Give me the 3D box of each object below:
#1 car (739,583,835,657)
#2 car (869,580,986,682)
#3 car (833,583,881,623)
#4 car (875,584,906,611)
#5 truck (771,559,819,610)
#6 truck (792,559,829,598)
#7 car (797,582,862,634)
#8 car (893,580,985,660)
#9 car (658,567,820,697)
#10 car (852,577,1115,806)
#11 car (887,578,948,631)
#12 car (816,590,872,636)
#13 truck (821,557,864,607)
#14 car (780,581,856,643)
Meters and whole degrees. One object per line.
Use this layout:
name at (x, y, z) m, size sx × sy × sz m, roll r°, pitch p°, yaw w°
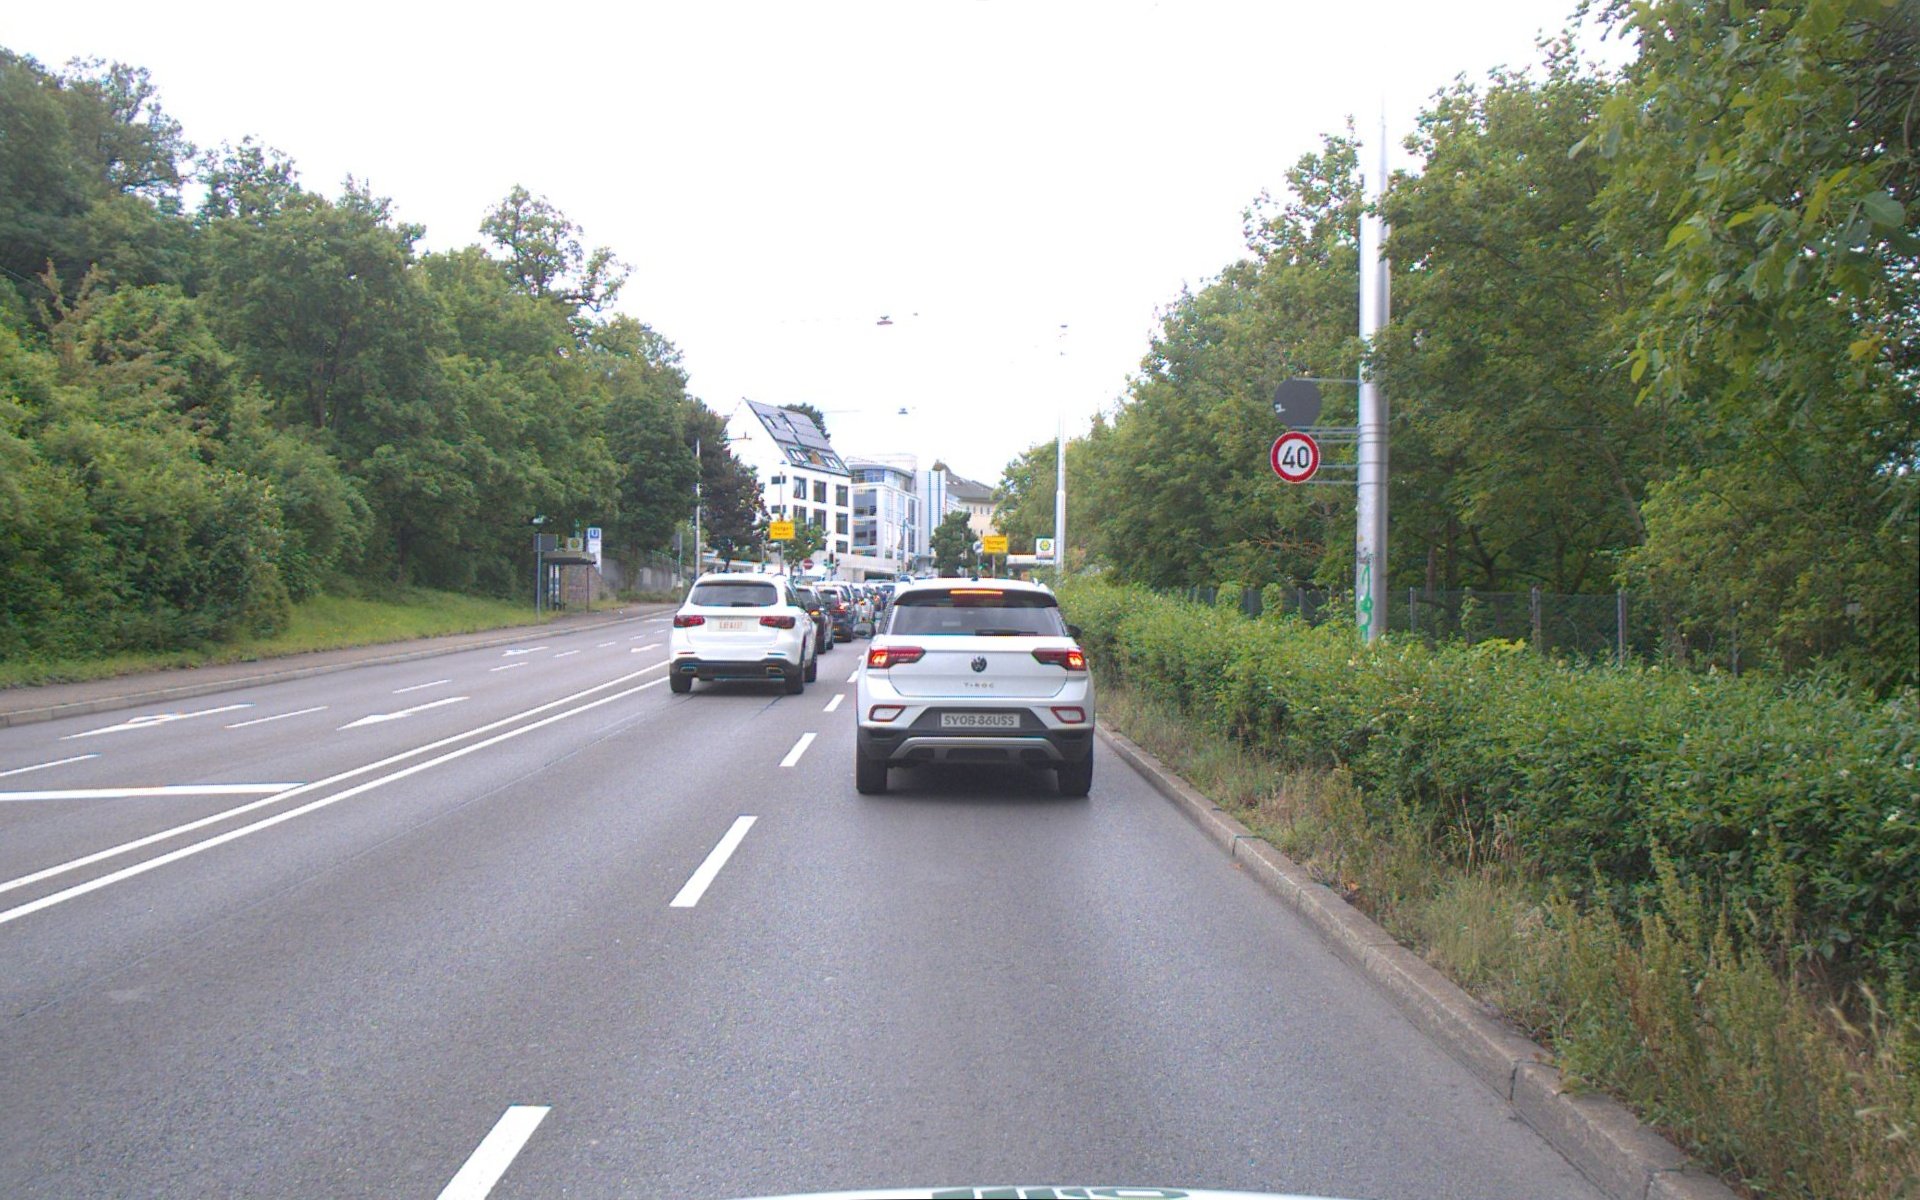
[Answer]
car at (-3.770, 0.406, 36.652) m, size 1.792 × 1.523 × 3.999 m, roll -1°, pitch 0°, yaw -2°
car at (-0.552, 0.462, 27.543) m, size 1.792 × 1.552 × 3.999 m, roll -1°, pitch 0°, yaw -2°
car at (-4.166, 0.107, 67.430) m, size 1.792 × 1.552 × 3.999 m, roll -1°, pitch 0°, yaw -2°
car at (-4.212, -0.177, 100.994) m, size 1.792 × 1.552 × 3.999 m, roll -1°, pitch 0°, yaw -2°
truck at (-9.299, -0.895, 93.456) m, size 2.315 × 2.753 × 4.476 m, roll -2°, pitch 0°, yaw -2°
truck at (-12.411, -1.744, 137.788) m, size 2.246 × 3.104 × 6.980 m, roll -1°, pitch 0°, yaw 1°
car at (-4.027, 0.225, 51.602) m, size 1.792 × 1.552 × 3.999 m, roll -1°, pitch 0°, yaw -2°
car at (-0.470, 0.376, 34.521) m, size 1.792 × 1.552 × 3.999 m, roll -1°, pitch 0°, yaw -2°
car at (-3.085, 0.409, 23.825) m, size 1.879 × 1.698 × 3.999 m, roll 1°, pitch 0°, yaw -2°
car at (0.110, 0.602, 13.276) m, size 1.792 × 1.552 × 3.999 m, roll 0°, pitch 0°, yaw -2°
car at (-1.323, 0.124, 51.501) m, size 1.792 × 1.552 × 3.999 m, roll -1°, pitch 0°, yaw -2°
car at (-4.133, 0.428, 59.293) m, size 1.792 × 1.552 × 3.999 m, roll -1°, pitch 0°, yaw -2°
truck at (-6.930, -1.081, 98.041) m, size 2.314 × 2.830 × 4.476 m, roll -1°, pitch 1°, yaw -2°
car at (-3.750, 0.296, 44.218) m, size 1.792 × 1.552 × 3.999 m, roll -1°, pitch 0°, yaw -2°
